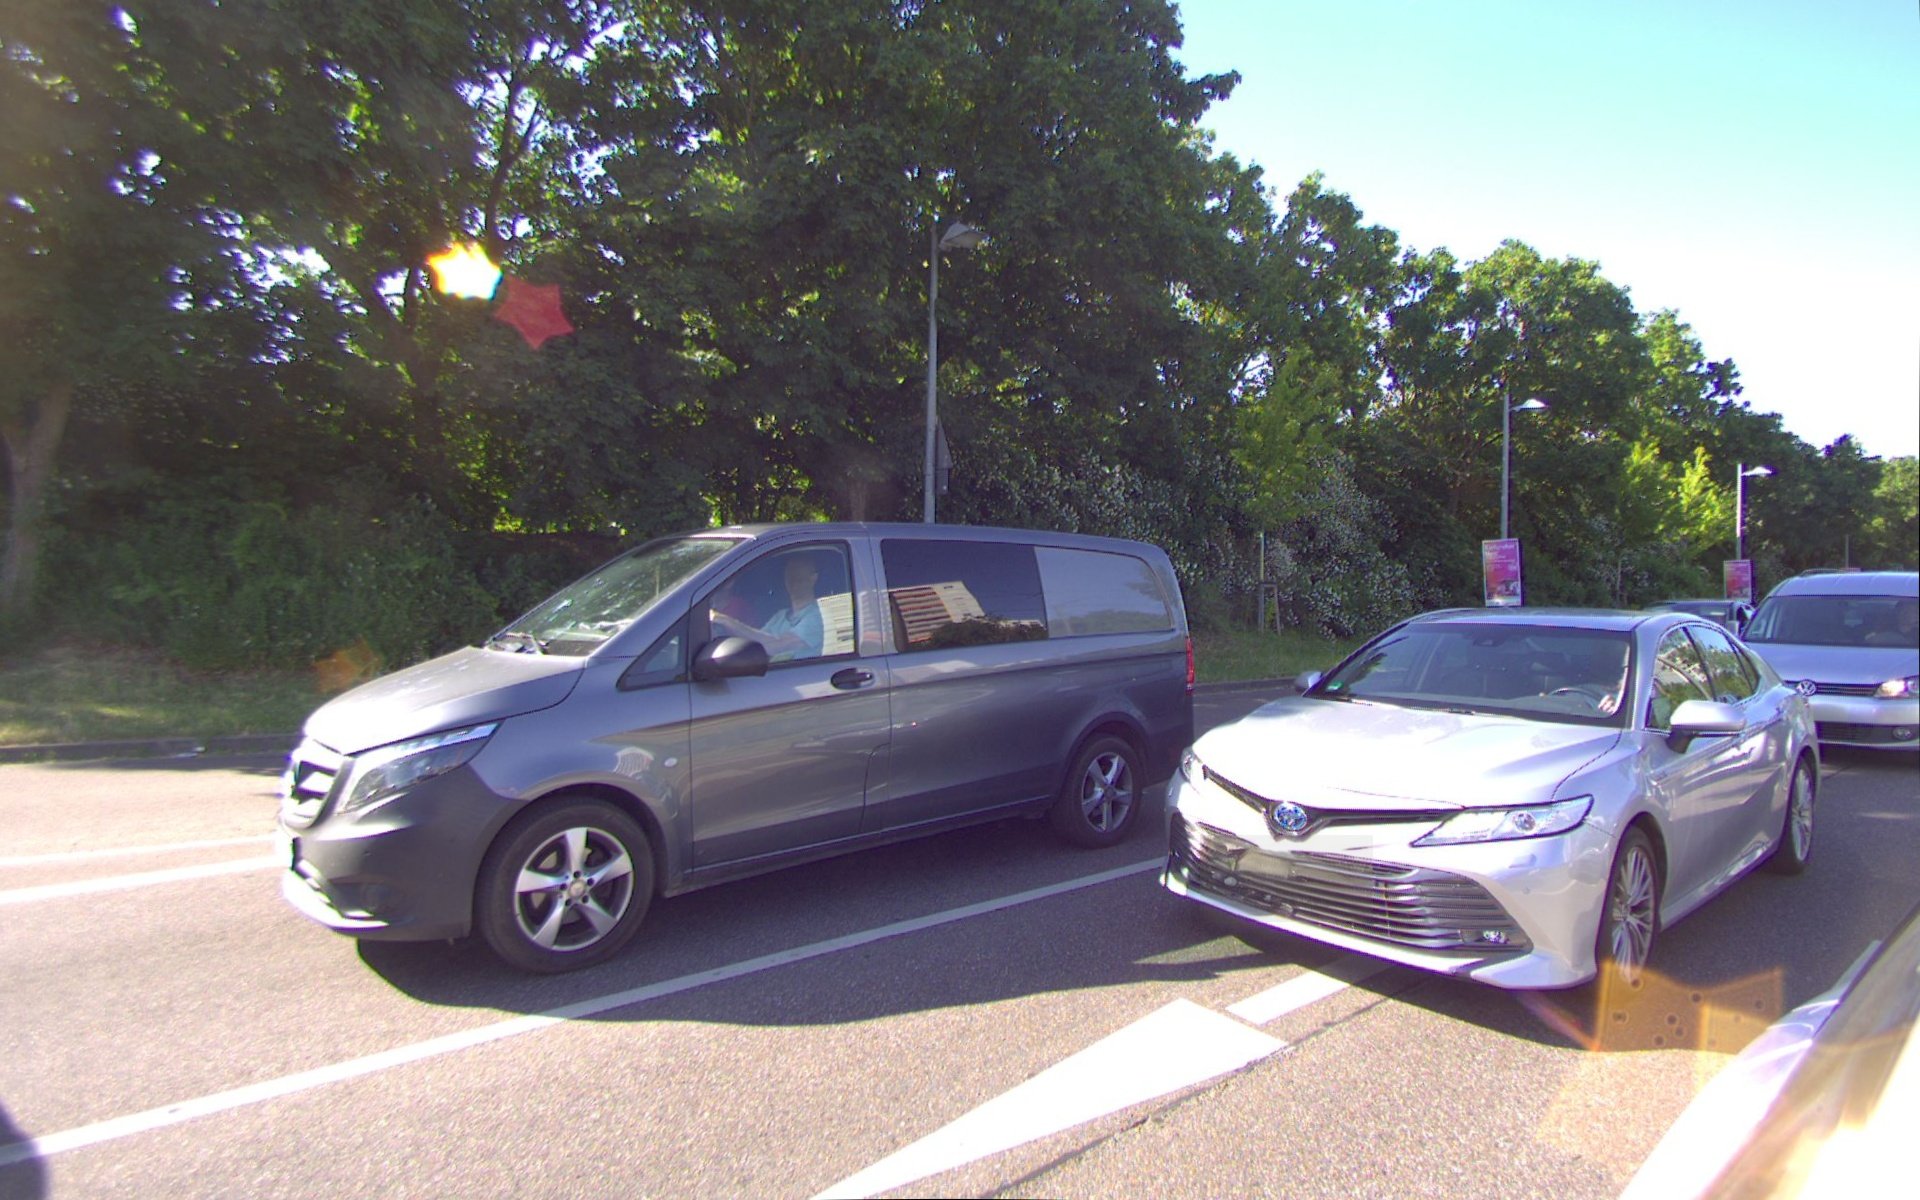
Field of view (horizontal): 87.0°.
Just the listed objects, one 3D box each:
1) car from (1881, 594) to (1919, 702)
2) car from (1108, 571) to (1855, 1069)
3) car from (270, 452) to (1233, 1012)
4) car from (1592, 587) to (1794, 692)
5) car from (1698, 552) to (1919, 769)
[{"bbox_3d":[14.997,0.676,14.919,4.126,1.472,1.715,0,1,-43],"label":"car"},{"bbox_3d":[2.989,0.664,5.251,4.599,1.512,1.808,0,0,-40],"label":"car"},{"bbox_3d":[-0.759,0.412,5.671,5.011,1.875,1.809,0,2,-39],"label":"car"},{"bbox_3d":[12.269,0.560,16.858,4.151,1.527,1.771,-1,0,-40],"label":"car"},{"bbox_3d":[9.505,0.485,10.551,4.504,1.844,1.809,-1,1,-39],"label":"car"}]
